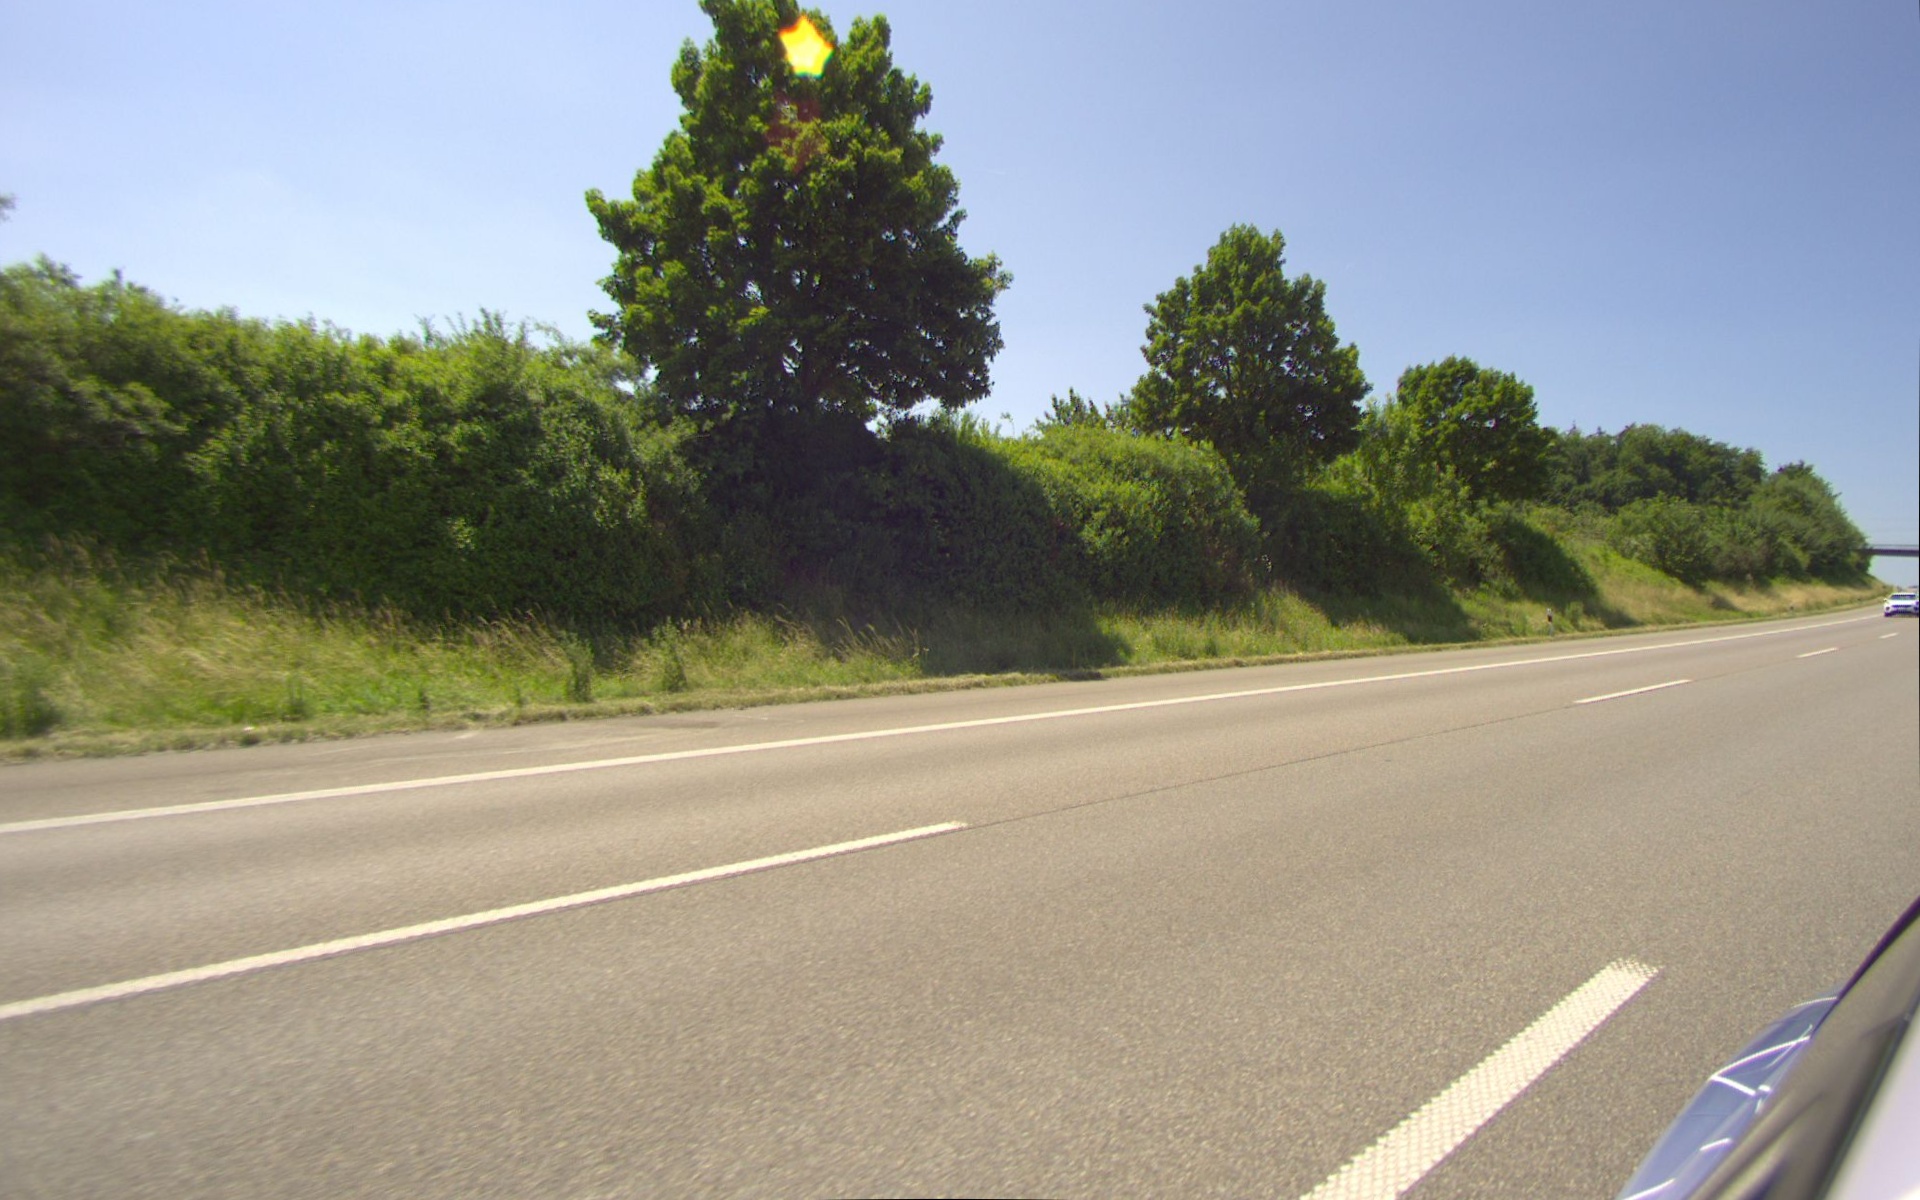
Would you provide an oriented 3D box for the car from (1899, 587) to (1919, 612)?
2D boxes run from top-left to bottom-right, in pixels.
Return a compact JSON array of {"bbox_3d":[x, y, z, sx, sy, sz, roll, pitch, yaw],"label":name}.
[{"bbox_3d":[65.321,-0.028,68.883,4.329,1.672,1.783,0,0,-43],"label":"car"}]
